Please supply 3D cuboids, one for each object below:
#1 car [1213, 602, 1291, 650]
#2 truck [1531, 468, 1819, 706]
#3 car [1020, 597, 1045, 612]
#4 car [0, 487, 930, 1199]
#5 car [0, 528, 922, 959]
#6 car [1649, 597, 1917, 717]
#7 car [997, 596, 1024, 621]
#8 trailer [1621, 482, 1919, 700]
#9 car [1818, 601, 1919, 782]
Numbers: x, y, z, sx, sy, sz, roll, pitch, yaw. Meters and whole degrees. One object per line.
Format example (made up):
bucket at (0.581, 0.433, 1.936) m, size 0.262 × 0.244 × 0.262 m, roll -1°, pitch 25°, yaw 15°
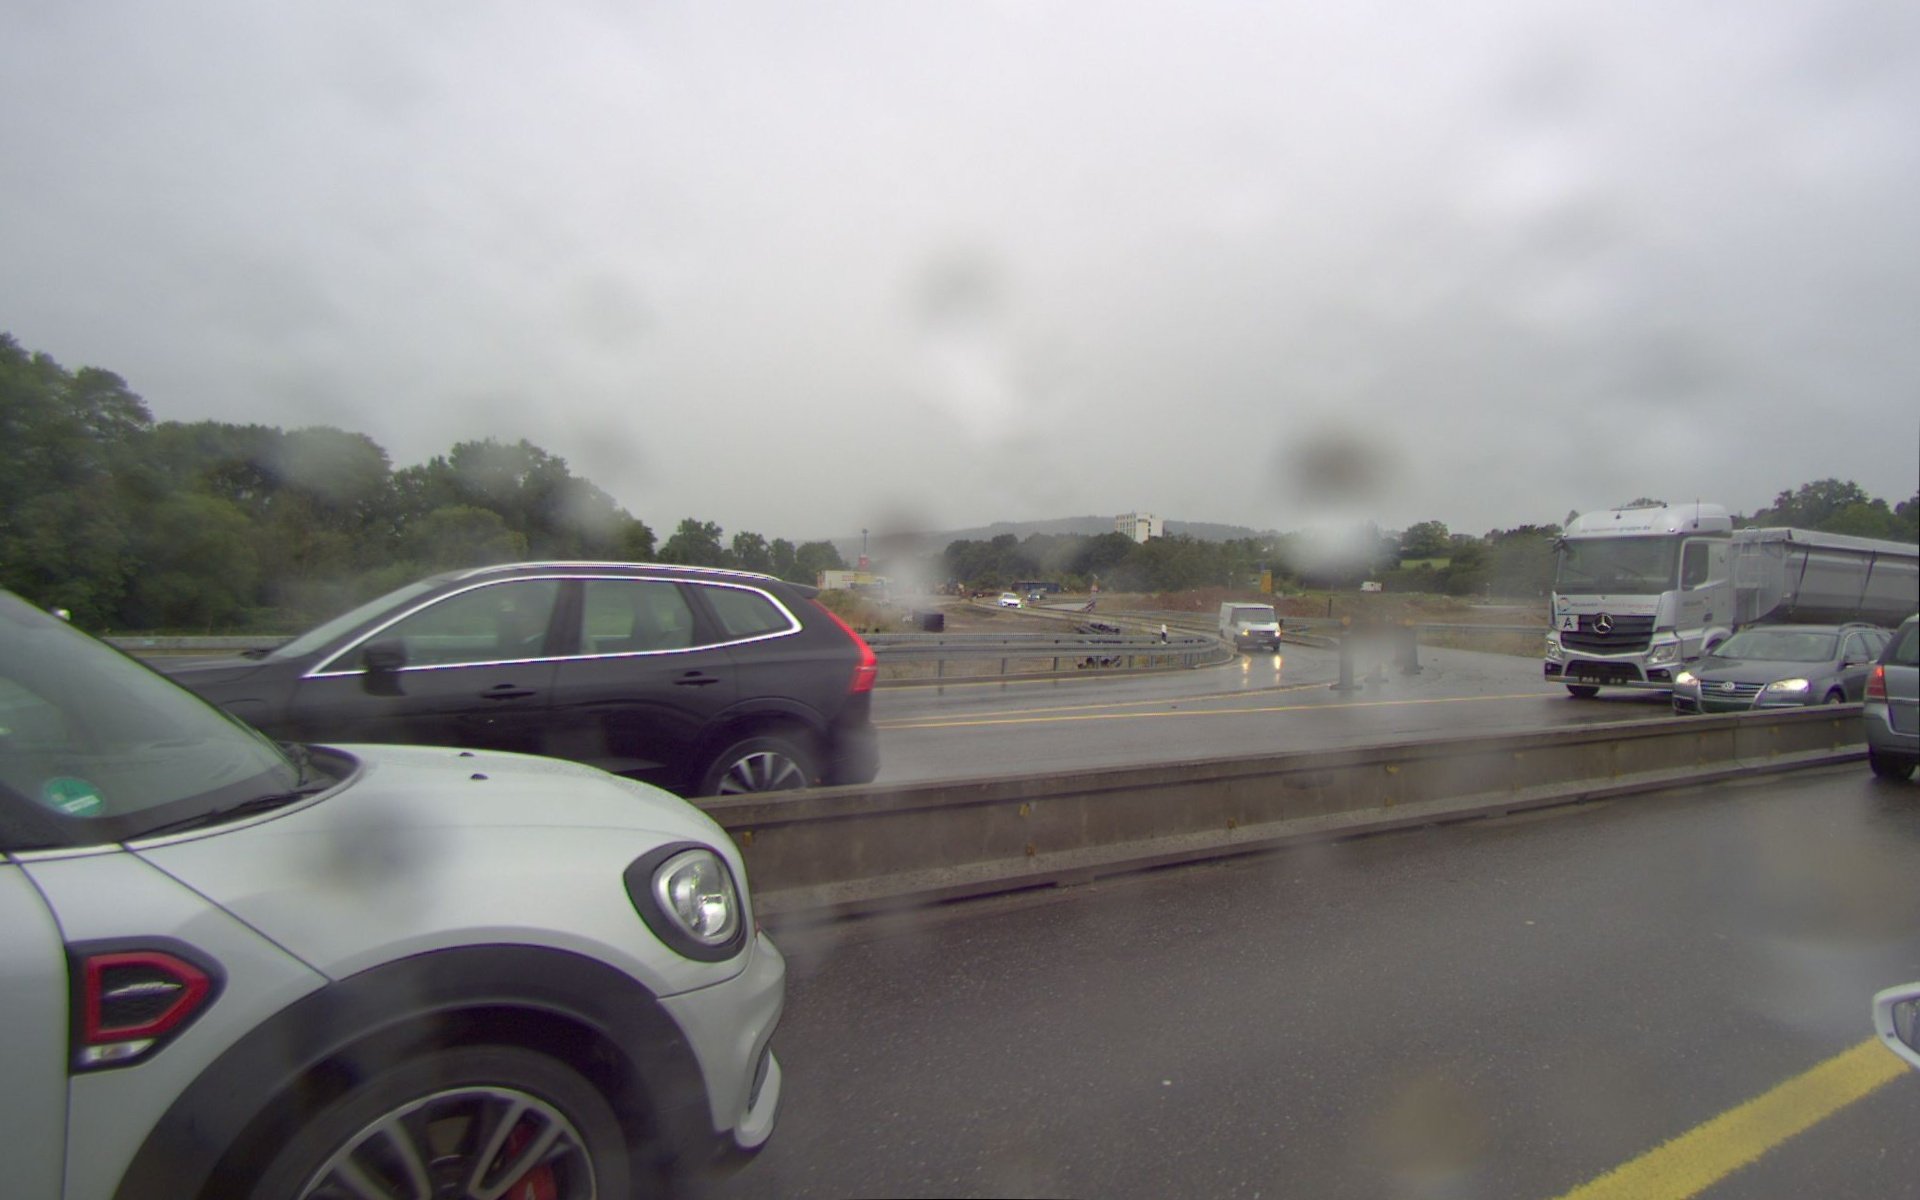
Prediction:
car at (13.339, 1.130, 46.163) m, size 2.227 × 2.040 × 5.046 m, roll 1°, pitch 0°, yaw 2°
truck at (13.745, -0.165, 19.275) m, size 5.213 × 3.979 × 2.673 m, roll 1°, pitch -1°, yaw -31°
car at (8.552, 0.553, 118.279) m, size 1.813 × 1.723 × 5.047 m, roll 1°, pitch 0°, yaw 18°
car at (-2.349, 0.638, 1.904) m, size 4.257 × 1.622 × 1.807 m, roll 0°, pitch 1°, yaw -30°
car at (-2.619, 0.603, 5.751) m, size 4.418 × 1.677 × 1.984 m, roll 1°, pitch -1°, yaw -31°
car at (11.695, 0.736, 14.223) m, size 3.954 × 1.473 × 1.701 m, roll 1°, pitch 0°, yaw -31°
car at (4.544, 0.752, 90.471) m, size 2.031 × 2.090 × 4.842 m, roll 1°, pitch 0°, yaw -2°
trailer at (18.495, -0.082, 22.137) m, size 9.706 × 4.016 × 2.672 m, roll 1°, pitch -1°, yaw -31°
car at (10.563, 0.862, 9.878) m, size 4.092 × 1.622 × 1.984 m, roll 1°, pitch 0°, yaw -30°
